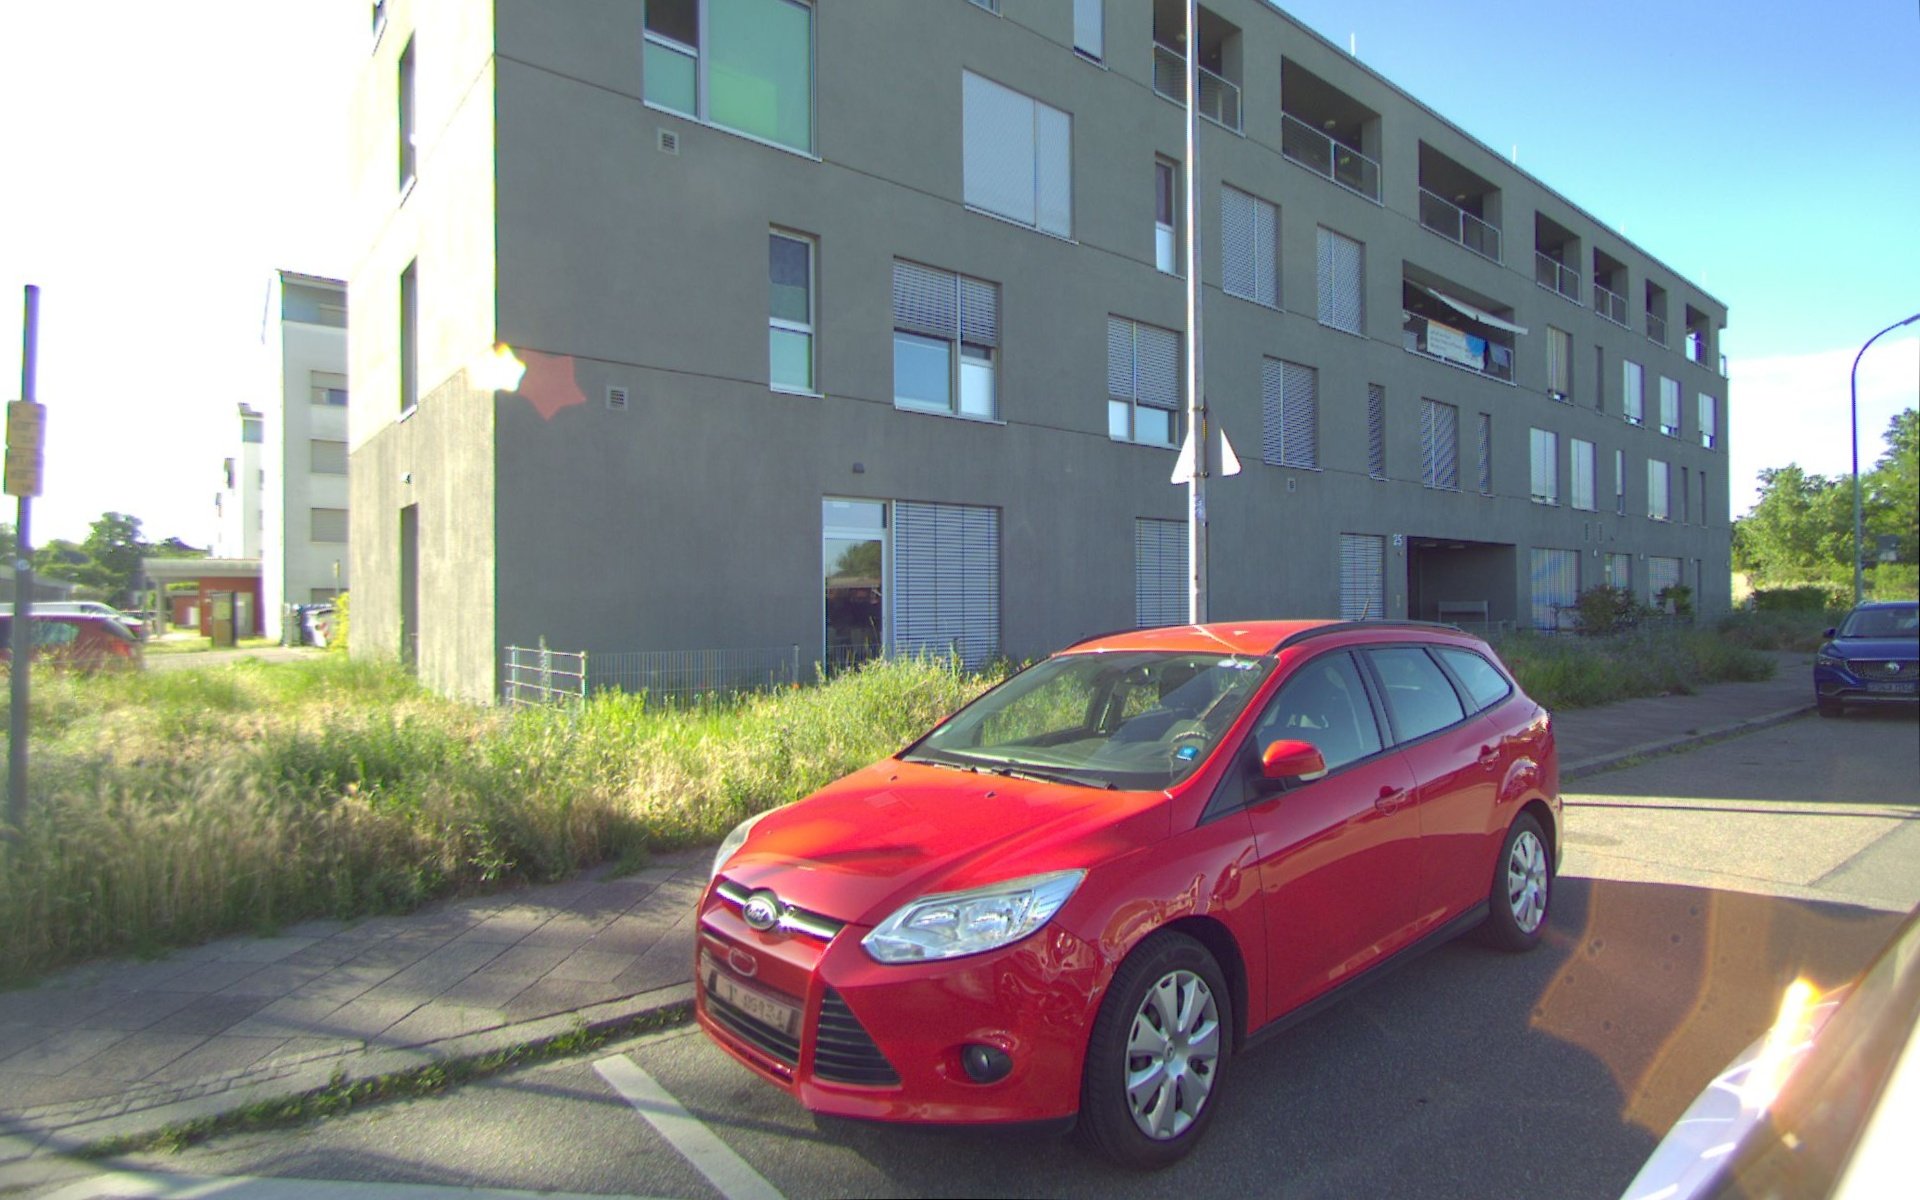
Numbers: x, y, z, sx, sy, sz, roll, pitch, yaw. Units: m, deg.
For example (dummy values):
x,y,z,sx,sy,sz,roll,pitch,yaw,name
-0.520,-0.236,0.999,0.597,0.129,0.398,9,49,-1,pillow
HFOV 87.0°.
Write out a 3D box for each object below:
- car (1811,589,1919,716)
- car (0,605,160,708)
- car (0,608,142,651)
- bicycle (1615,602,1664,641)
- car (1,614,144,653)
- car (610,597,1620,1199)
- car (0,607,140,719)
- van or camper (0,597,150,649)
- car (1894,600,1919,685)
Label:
x,y,z,sx,sy,sz,roll,pitch,yaw,name
13.863,0.658,14.463,4.546,1.620,1.819,0,-3,-40,car
-15.275,0.879,16.141,3.928,1.539,1.697,0,0,-39,car
-30.710,0.970,34.393,4.519,1.366,1.998,0,0,-39,car
19.548,0.608,29.111,1.807,1.075,0.553,-1,-1,-36,bicycle
-33.614,1.233,38.485,4.014,1.366,1.761,0,0,-39,car
1.008,0.779,4.313,4.373,1.519,1.822,0,-1,-40,car
-13.938,0.872,14.064,3.928,1.488,1.697,0,0,-39,car
-36.153,0.898,40.922,5.197,1.983,1.999,0,0,-37,van or camper
18.498,0.687,18.252,4.503,1.448,1.748,-1,-2,-39,car
